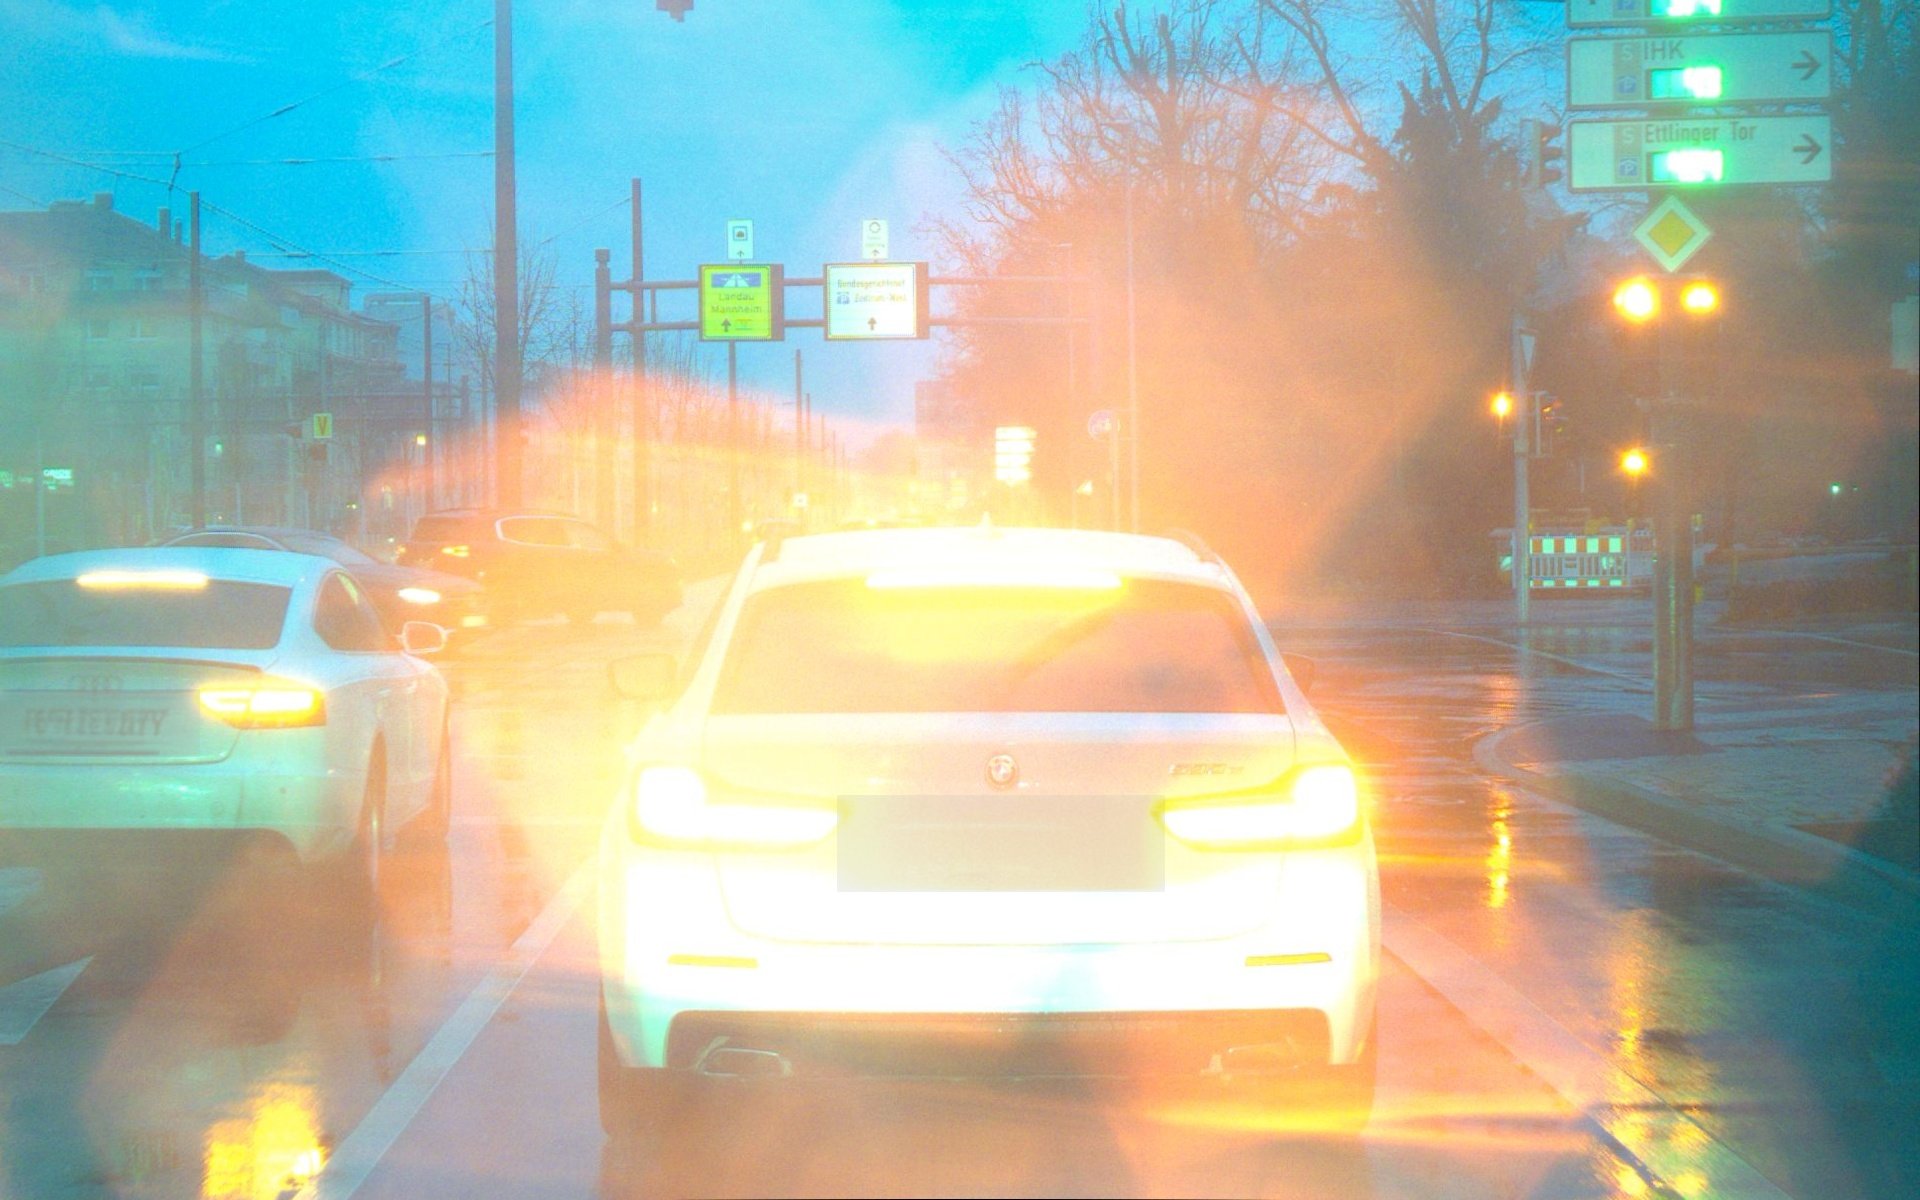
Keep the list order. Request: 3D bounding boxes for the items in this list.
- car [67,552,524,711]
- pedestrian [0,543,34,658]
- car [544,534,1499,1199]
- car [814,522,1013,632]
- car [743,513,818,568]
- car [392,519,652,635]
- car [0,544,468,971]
[{"bbox_3d":[-7.451,0.333,38.640,4.699,1.714,1.867,0,0,15],"label":"car"},{"bbox_3d":[-14.297,0.008,51.487,0.790,1.706,0.813,1,0,-16],"label":"pedestrian"},{"bbox_3d":[0.028,0.565,9.361,1.993,1.451,4.369,0,1,-3],"label":"car"},{"bbox_3d":[-0.759,-0.364,52.686,1.842,1.603,3.946,1,0,-20],"label":"car"},{"bbox_3d":[-4.901,-1.645,93.785,1.993,1.451,4.369,0,1,-3],"label":"car"},{"bbox_3d":[-6.288,-0.330,49.759,1.845,1.603,3.939,1,0,26],"label":"car"},{"bbox_3d":[-3.251,0.520,14.246,1.993,1.451,4.369,0,1,-3],"label":"car"}]
